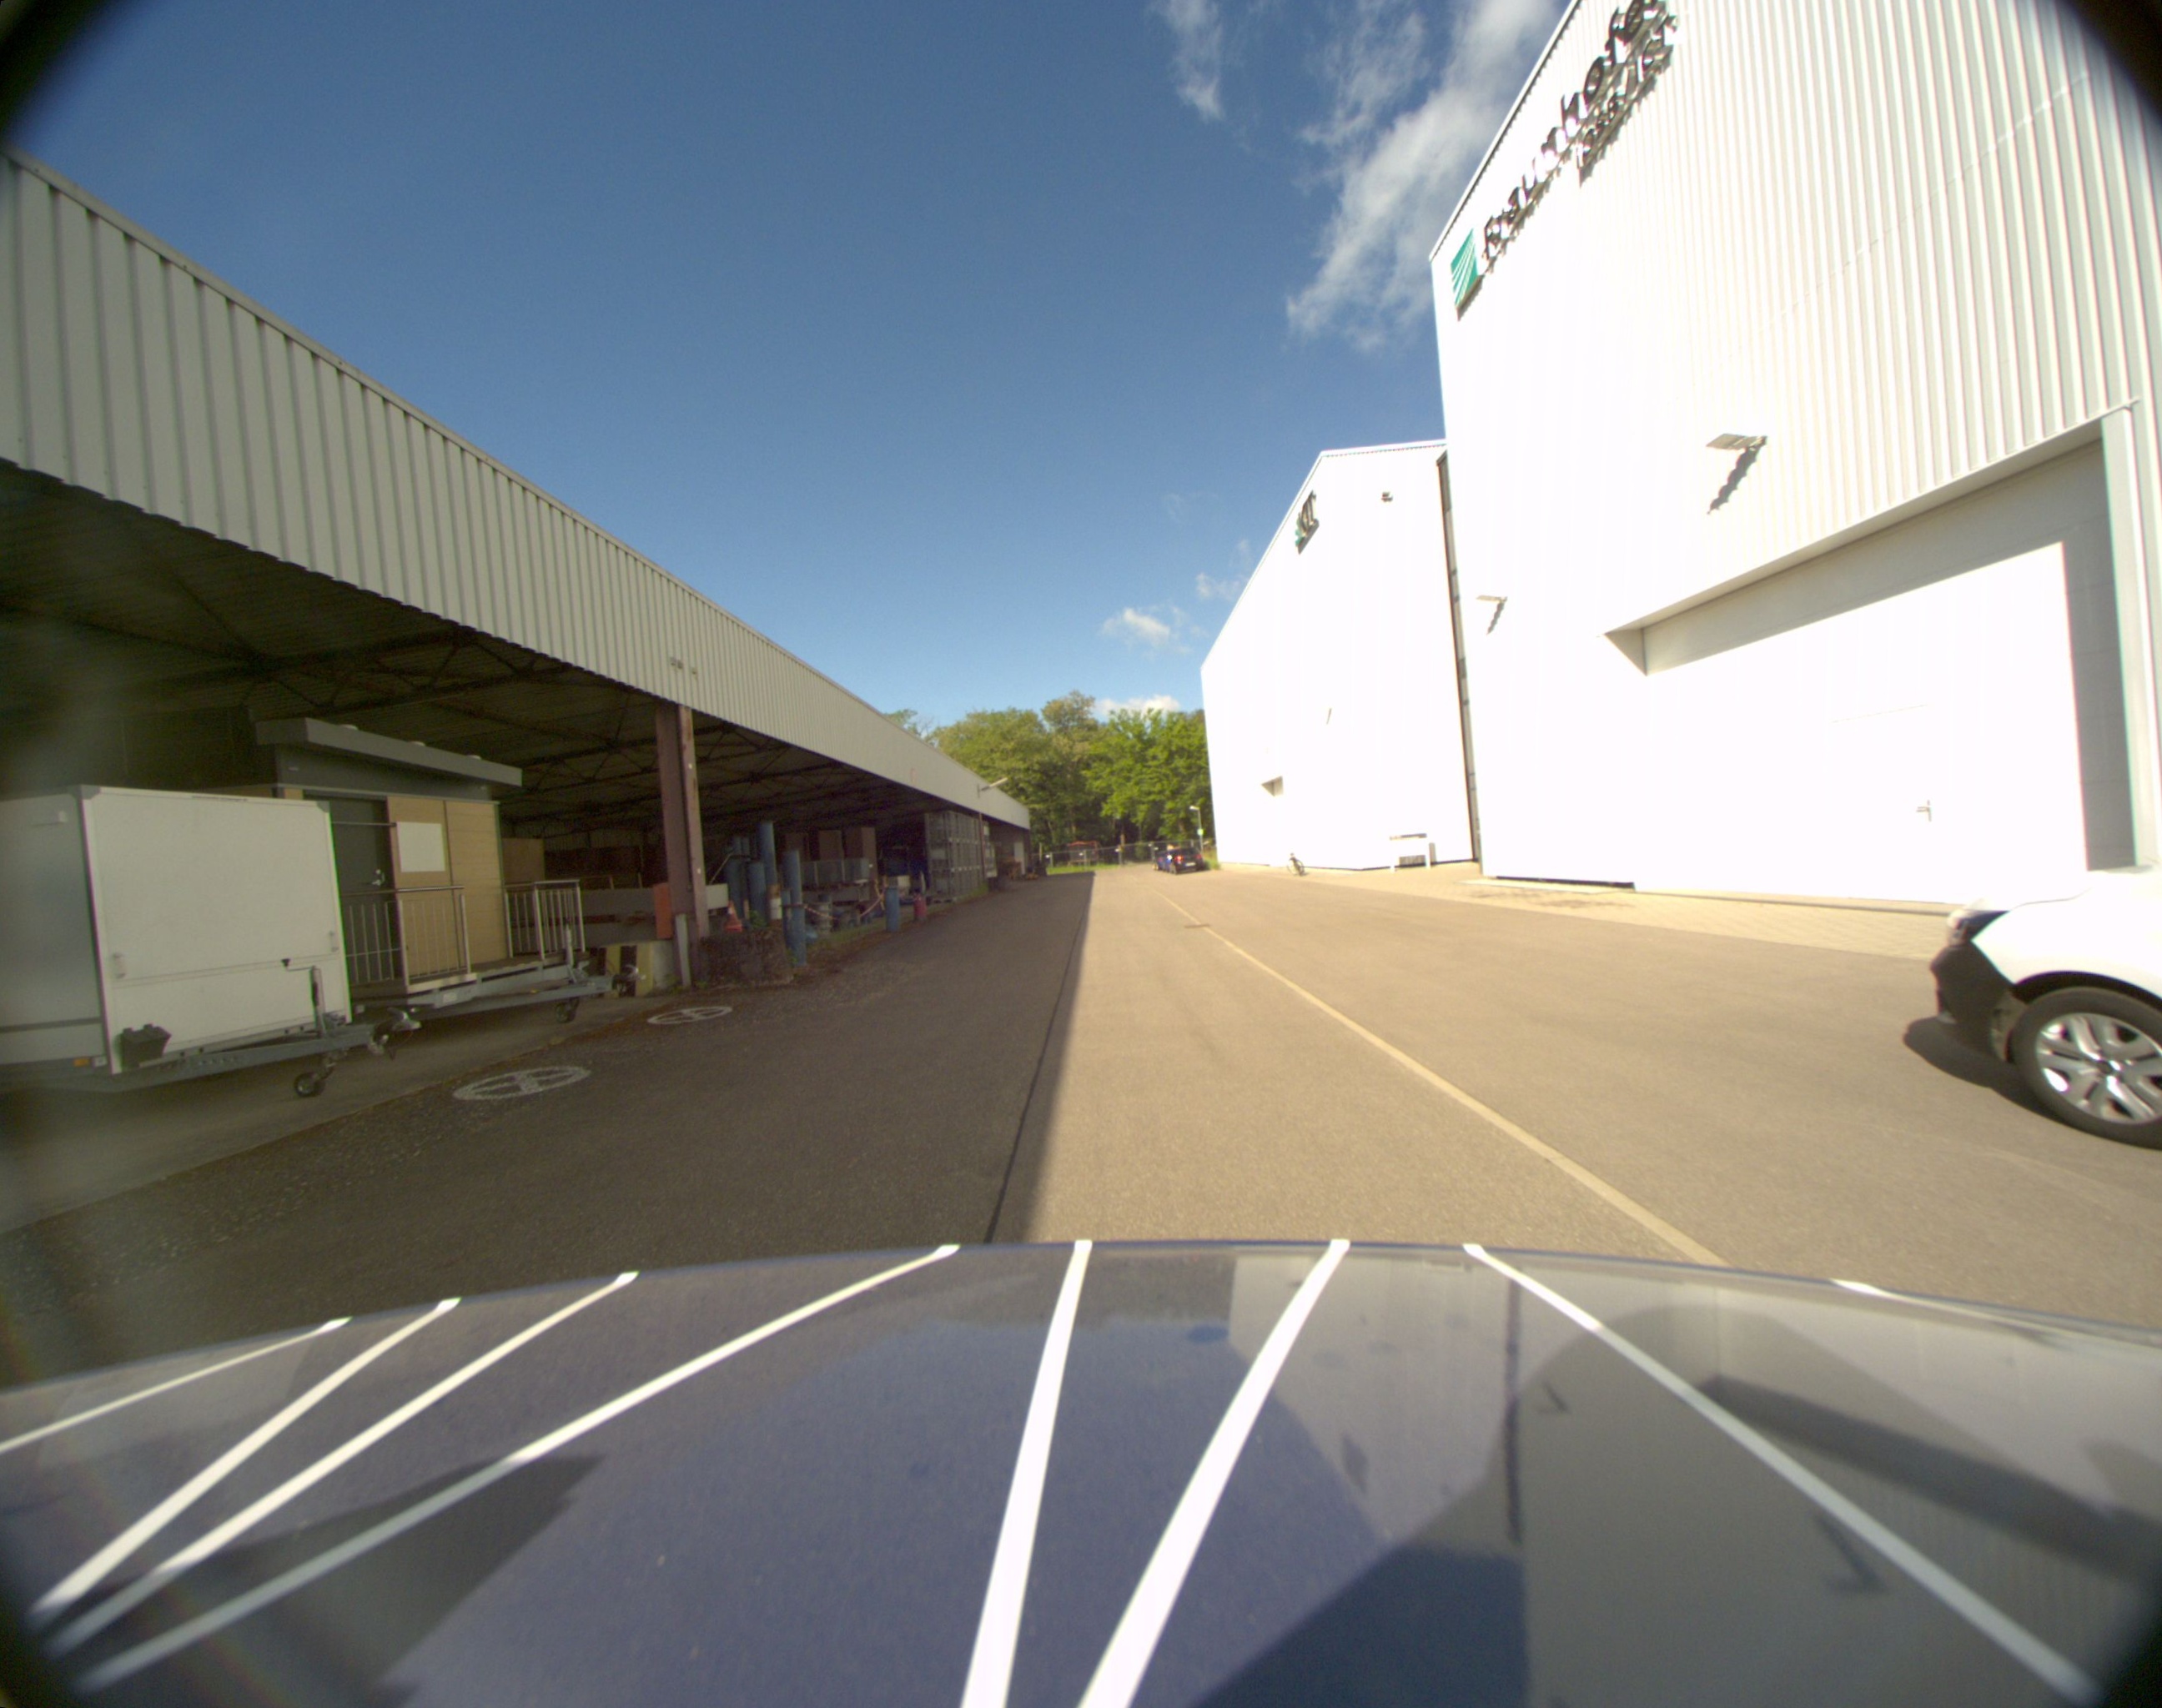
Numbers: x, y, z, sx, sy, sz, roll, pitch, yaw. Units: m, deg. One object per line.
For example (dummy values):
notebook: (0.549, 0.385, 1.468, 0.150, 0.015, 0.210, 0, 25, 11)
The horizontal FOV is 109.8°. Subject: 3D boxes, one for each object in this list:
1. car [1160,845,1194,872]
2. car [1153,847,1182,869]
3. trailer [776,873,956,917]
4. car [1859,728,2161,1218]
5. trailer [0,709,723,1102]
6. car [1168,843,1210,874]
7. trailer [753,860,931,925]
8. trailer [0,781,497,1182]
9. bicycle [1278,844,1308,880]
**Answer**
car: (6.218, 0.261, 49.581, 1.789, 1.513, 4.000, -7, 0, 3)
car: (6.239, 0.285, 55.084, 1.789, 1.431, 4.000, -4, 0, 3)
trailer: (-7.632, 1.447, 27.359, 5.837, 1.113, 2.029, -4, 0, 0)
car: (4.905, 0.361, 1.622, 1.895, 1.835, 4.358, -7, 0, 1)
trailer: (-9.701, 0.638, 8.292, 10.062, 3.197, 2.854, -4, 1, 1)
car: (6.229, 0.252, 44.329, 1.895, 1.513, 4.000, -7, 0, 3)
trailer: (-7.441, 1.178, 24.004, 4.879, 1.619, 2.029, -4, 0, 0)
trailer: (-7.475, 0.901, 5.707, 4.822, 2.377, 1.827, -4, 1, 6)
bicycle: (7.921, 0.268, 28.369, 0.909, 1.136, 1.901, -8, 1, 17)
